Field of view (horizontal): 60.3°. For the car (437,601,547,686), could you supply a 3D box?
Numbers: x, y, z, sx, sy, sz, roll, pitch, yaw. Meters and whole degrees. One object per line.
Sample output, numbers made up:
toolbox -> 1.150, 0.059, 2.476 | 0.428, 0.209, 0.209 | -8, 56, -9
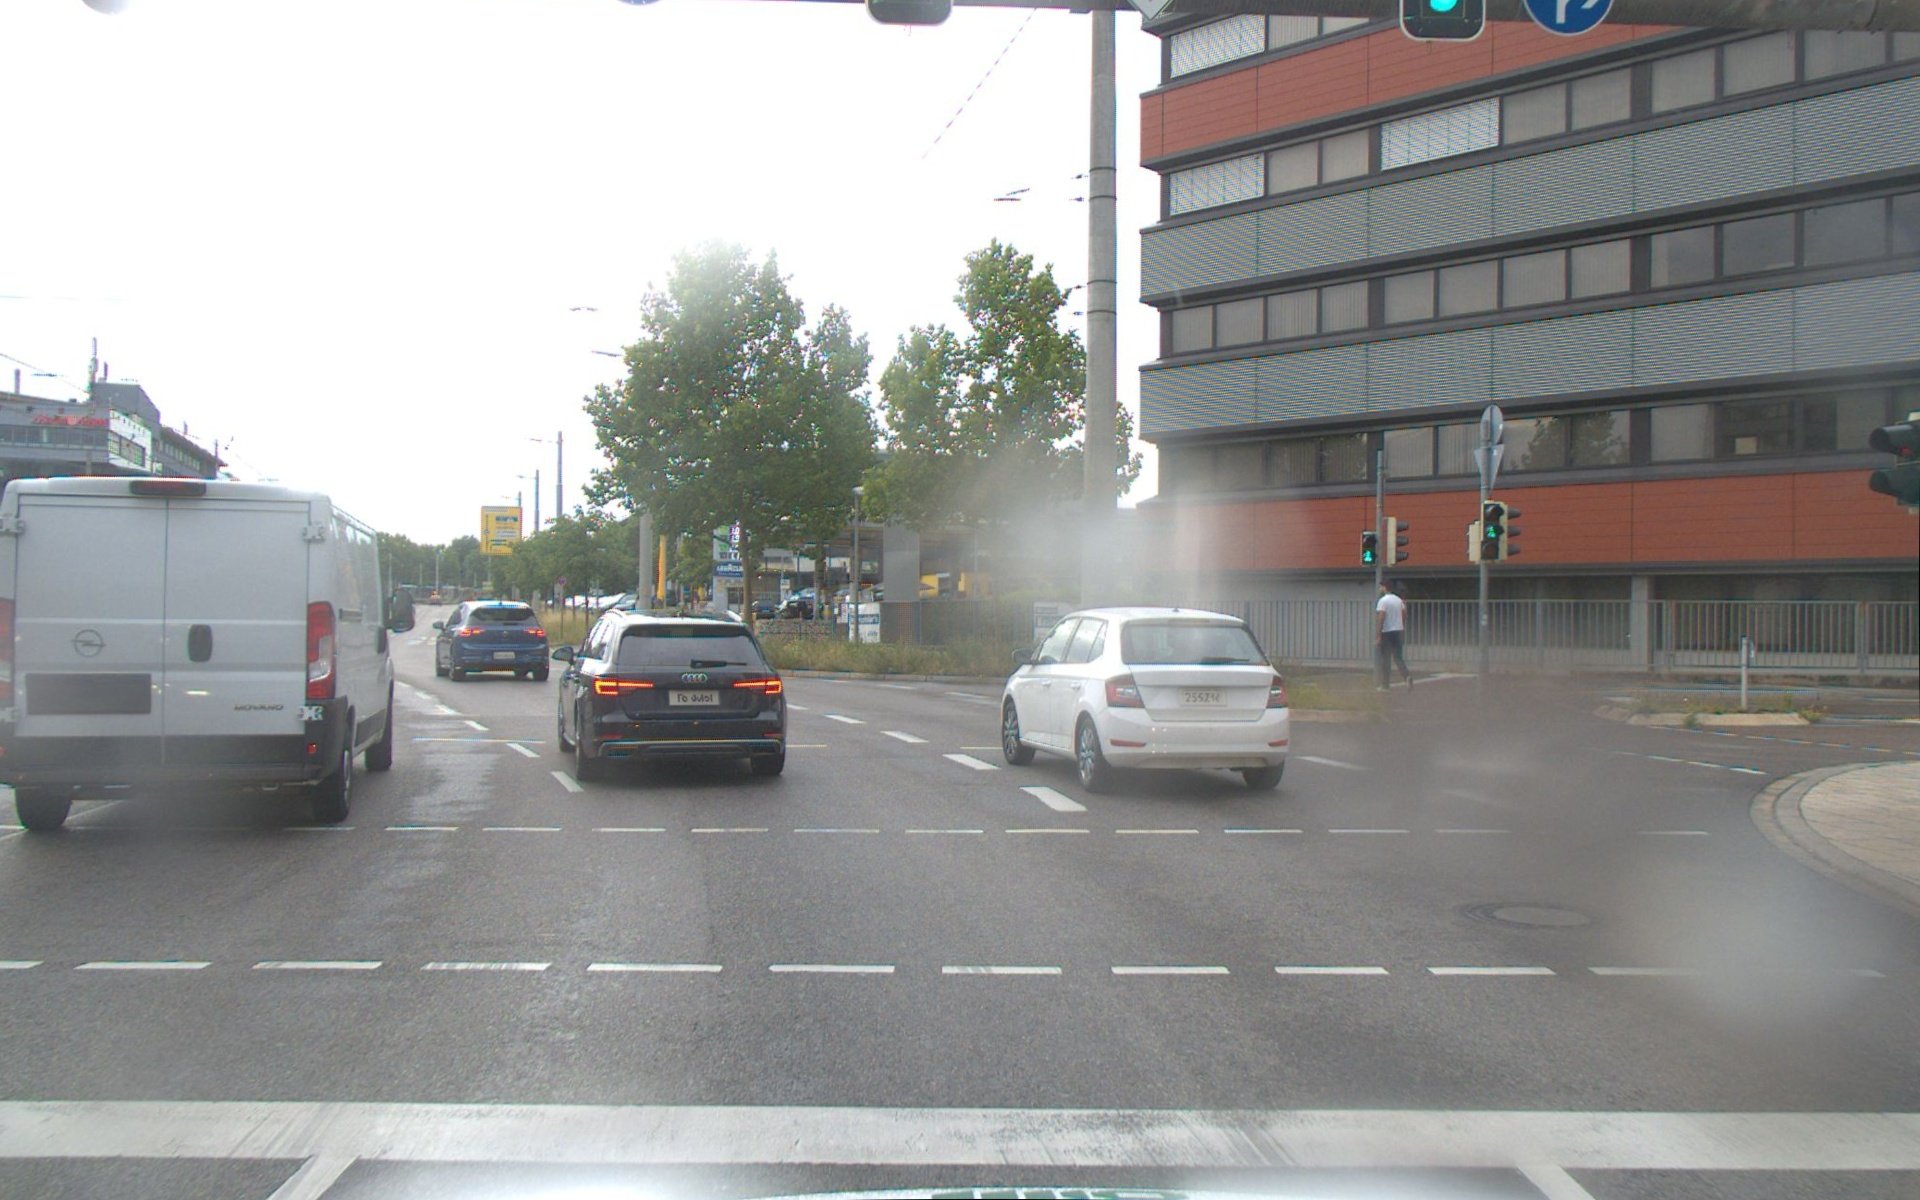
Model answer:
car -> -8.920, 0.813, 31.469 | 1.864, 1.491, 3.890 | 1, -1, -17

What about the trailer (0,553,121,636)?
trailer -> -46.074, -0.191, 84.833 | 2.677, 3.922, 11.191 | -1, -1, -13

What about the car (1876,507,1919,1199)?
car -> 3.048, 0.653, 1.545 | 1.731, 1.658, 4.321 | 3, -1, -4

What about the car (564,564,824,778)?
car -> -2.563, 0.566, 15.116 | 1.960, 1.666, 3.984 | 1, 0, -15

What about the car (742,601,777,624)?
car -> -14.300, 0.896, 118.001 | 1.763, 1.619, 3.980 | 0, 0, -18

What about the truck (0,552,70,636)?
truck -> -44.716, -0.223, 78.812 | 2.699, 3.872, 5.392 | -1, -1, -13

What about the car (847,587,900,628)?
car -> -4.578, 0.391, 86.821 | 1.961, 2.068, 3.982 | 0, 0, -16

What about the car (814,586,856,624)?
car -> -7.229, 0.294, 95.591 | 1.652, 2.049, 3.526 | 3, -1, -16

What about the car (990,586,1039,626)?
car -> 2.965, 0.322, 90.630 | 1.649, 2.049, 3.122 | 3, -1, -17

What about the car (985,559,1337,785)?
car -> 1.591, 0.593, 14.566 | 1.797, 1.685, 3.986 | 2, -1, -13

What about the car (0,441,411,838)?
car -> -5.541, 0.256, 12.293 | 2.404, 2.334, 4.885 | 0, -1, -14

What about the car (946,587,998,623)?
car -> 0.688, 0.294, 99.050 | 1.843, 2.049, 3.750 | 3, -1, -21

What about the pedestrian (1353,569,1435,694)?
pedestrian -> 7.694, 0.538, 29.382 | 1.120, 2.163, 1.222 | 0, 1, -1
